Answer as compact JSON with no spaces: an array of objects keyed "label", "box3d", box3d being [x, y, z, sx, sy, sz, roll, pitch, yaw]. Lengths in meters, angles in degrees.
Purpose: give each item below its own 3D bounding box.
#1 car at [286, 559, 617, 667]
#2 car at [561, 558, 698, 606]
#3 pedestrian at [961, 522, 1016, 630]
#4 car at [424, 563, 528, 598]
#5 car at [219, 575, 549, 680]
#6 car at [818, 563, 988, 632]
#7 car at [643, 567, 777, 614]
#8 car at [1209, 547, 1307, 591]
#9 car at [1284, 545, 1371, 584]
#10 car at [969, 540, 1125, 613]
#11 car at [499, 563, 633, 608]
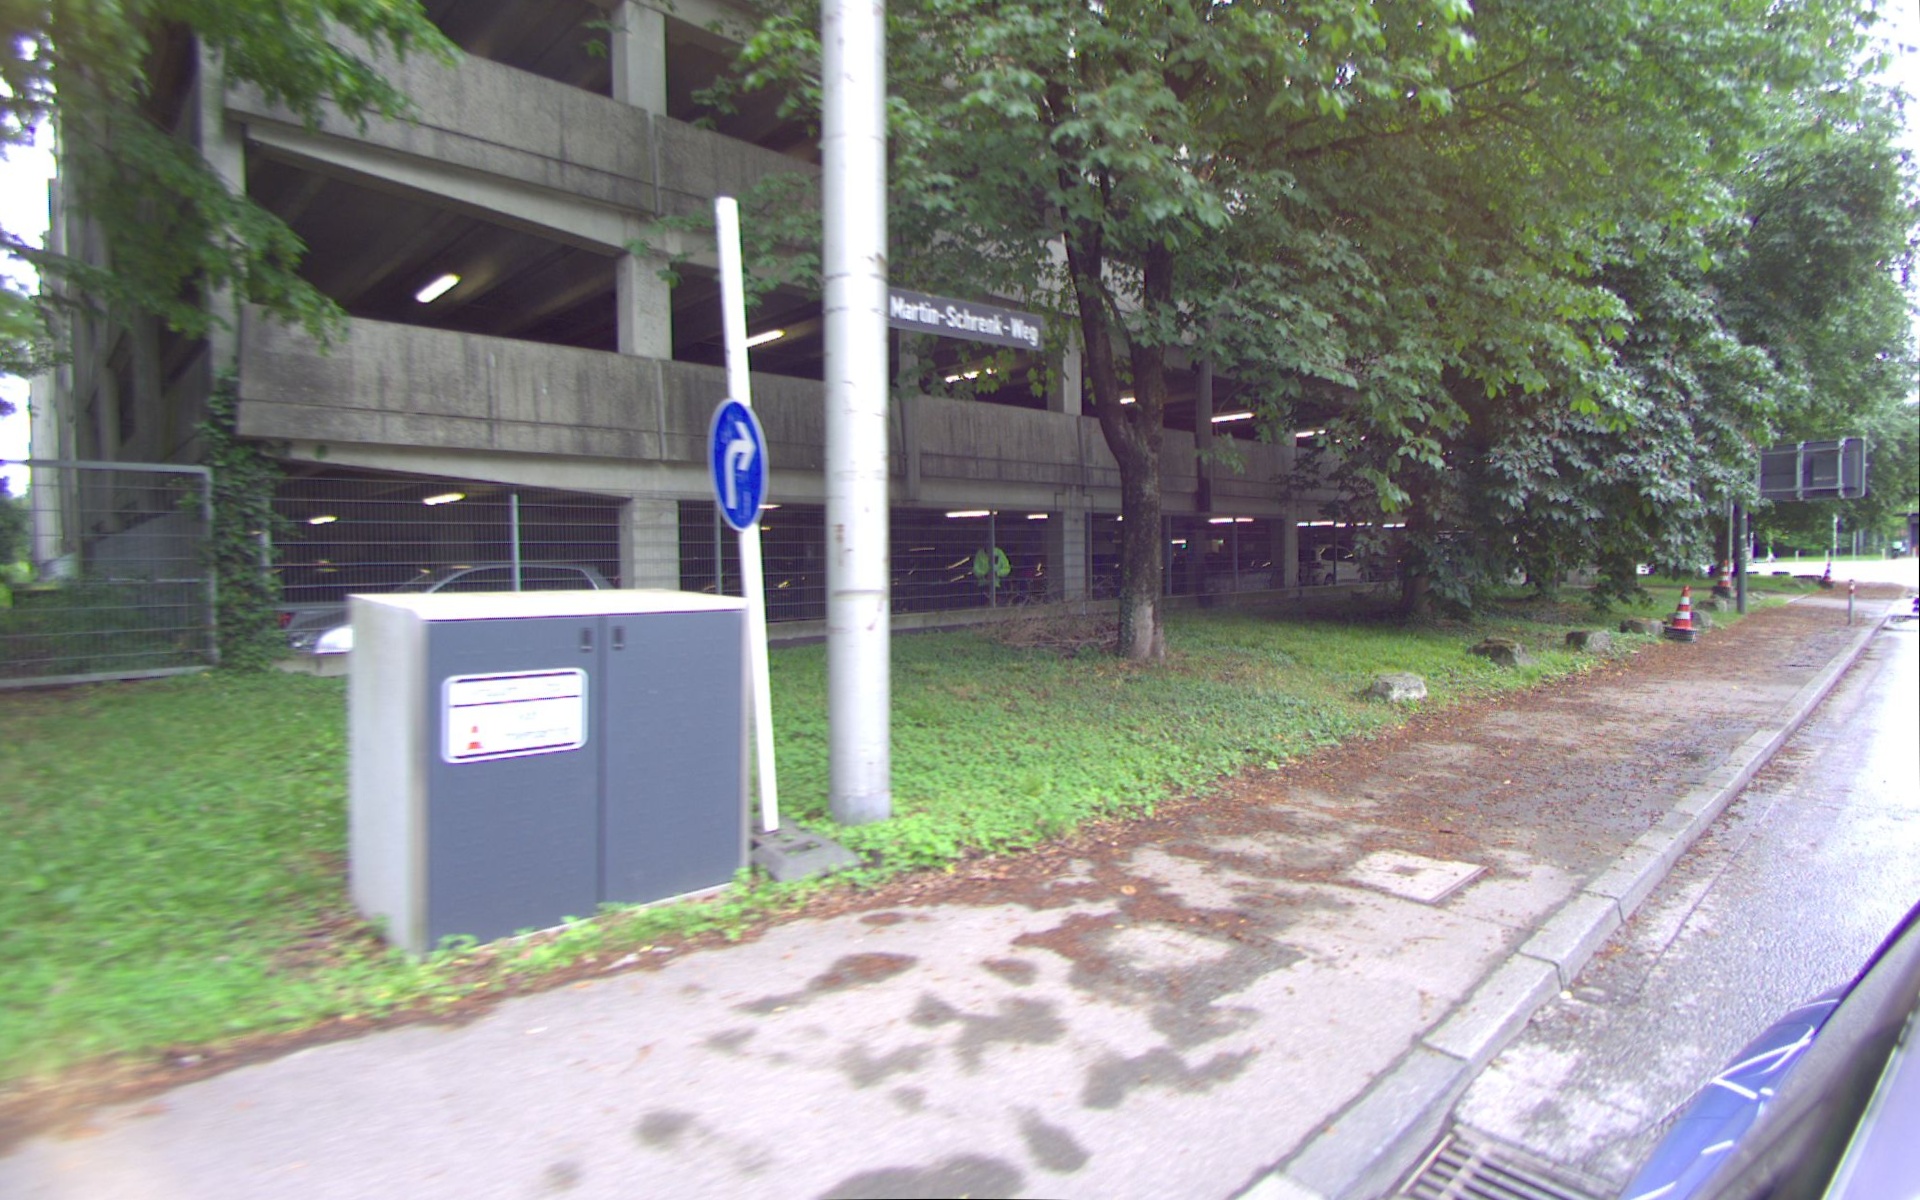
[{"label":"car","box3d":[-5.912,0.072,11.953,3.202,1.100,1.535,-2,3,-44]},{"label":"car","box3d":[-11.109,-0.648,34.196,1.821,1.506,4.008,2,4,44]},{"label":"pedestrian","box3d":[0.472,-0.408,16.742,0.600,1.720,0.617,-3,7,-45]},{"label":"car","box3d":[-20.438,-0.854,42.826,1.668,1.367,3.617,1,4,45]},{"label":"car","box3d":[-7.603,0.271,13.543,3.579,1.176,1.619,-2,3,-43]},{"label":"car","box3d":[-1.215,-0.111,22.616,3.715,1.381,1.519,-3,3,-44]},{"label":"car","box3d":[-6.796,-0.255,27.700,1.518,1.191,3.290,0,0,45]},{"label":"car","box3d":[9.888,-1.041,33.468,3.715,1.381,1.519,-3,3,-44]},{"label":"car","box3d":[13.340,-1.303,36.686,3.715,1.343,1.519,-3,3,-44]},{"label":"car","box3d":[2.322,-0.619,26.490,1.994,1.749,3.936,-1,1,45]},{"label":"car","box3d":[-13.830,-0.558,35.672,1.821,1.433,4.008,2,4,44]}]
